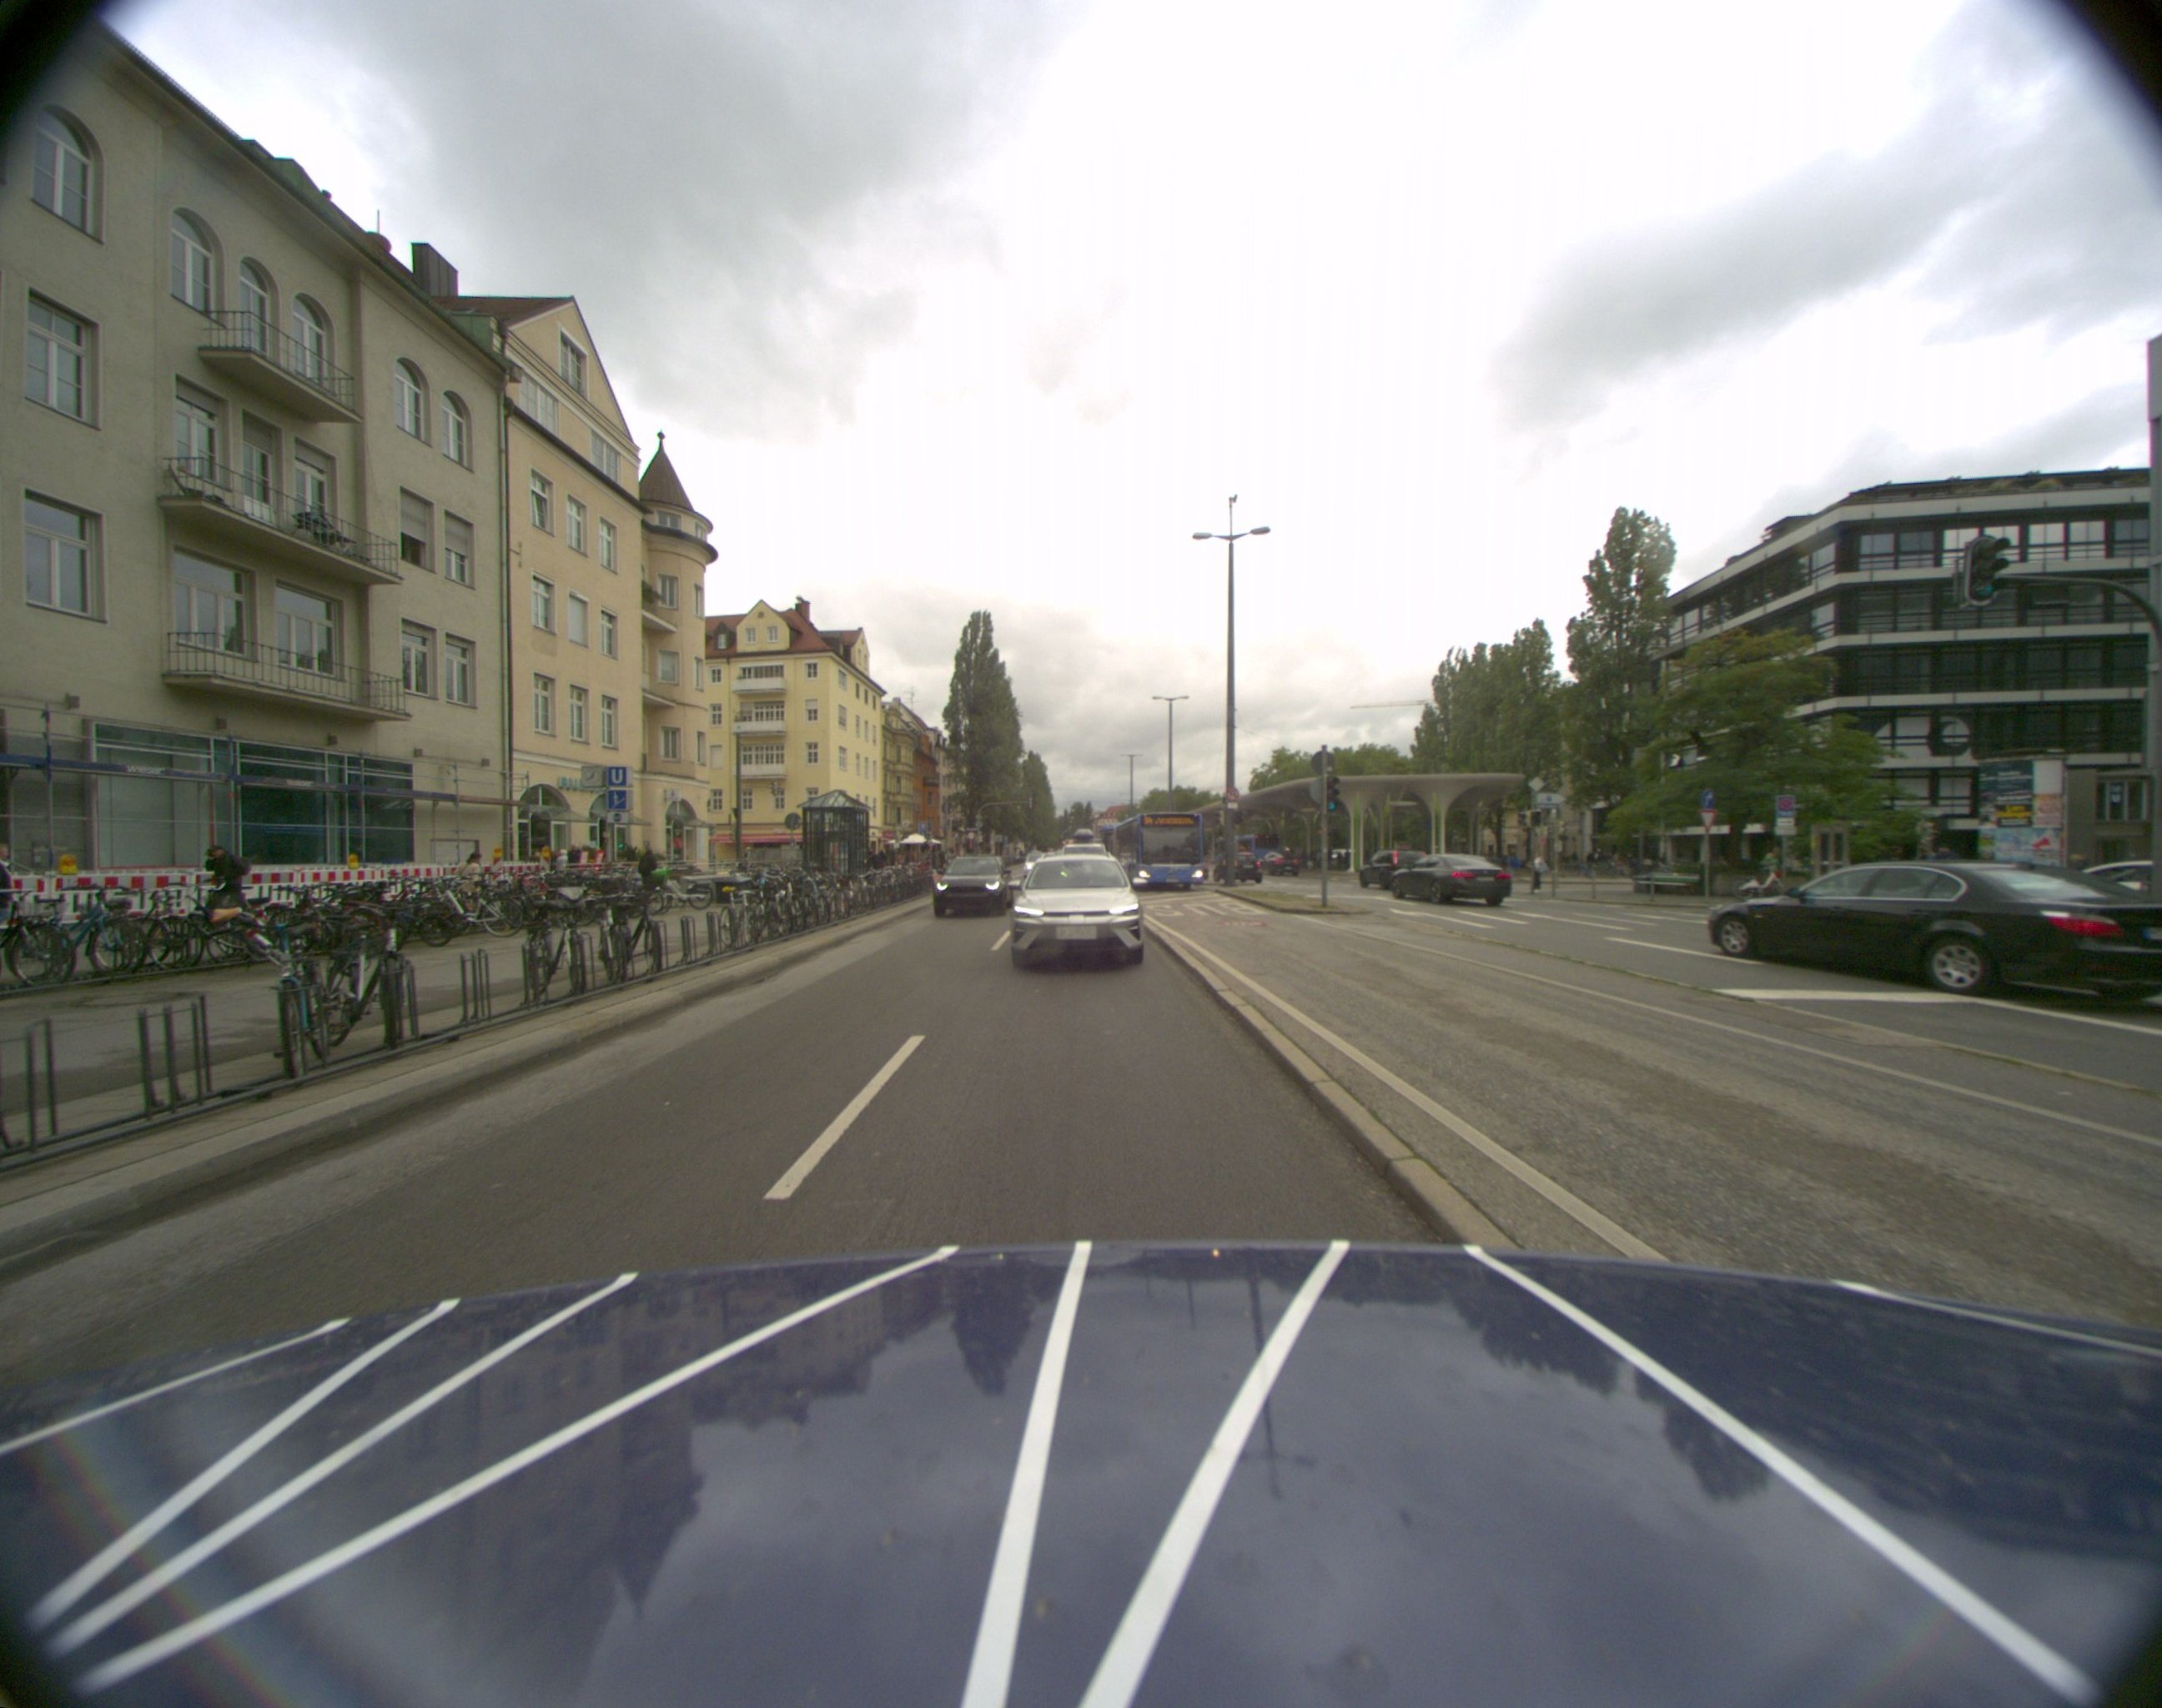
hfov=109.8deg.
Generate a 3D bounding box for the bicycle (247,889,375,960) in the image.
[{"bbox_3d":[-12.102,1.096,11.973,1.453,1.071,0.410,1,1,-8],"label":"bicycle"}]

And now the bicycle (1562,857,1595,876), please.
[{"bbox_3d":[29.962,0.736,45.743,0.473,1.091,1.671,0,1,-24],"label":"bicycle"}]

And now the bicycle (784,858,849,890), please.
[{"bbox_3d":[-10.417,0.777,29.947,2.317,1.220,0.628,0,1,3],"label":"bicycle"}]

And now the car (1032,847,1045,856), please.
[{"bbox_3d":[-7.500,-0.457,134.169,1.998,1.630,4.000,0,1,1],"label":"car"}]

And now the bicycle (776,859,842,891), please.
[{"bbox_3d":[-10.478,0.791,29.314,2.317,1.220,0.628,0,1,3],"label":"bicycle"}]

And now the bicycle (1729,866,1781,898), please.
[{"bbox_3d":[21.556,0.882,24.301,1.298,1.010,0.419,0,1,-1],"label":"bicycle"}]

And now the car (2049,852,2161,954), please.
[{"bbox_3d":[17.871,0.787,11.153,1.591,1.603,4.476,0,1,0],"label":"car"}]

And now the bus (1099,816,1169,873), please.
[{"bbox_3d":[2.882,-0.620,45.214,2.942,2.927,11.209,-1,1,-2],"label":"bus"}]

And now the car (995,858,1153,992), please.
[{"bbox_3d":[-0.036,0.886,11.319,1.896,1.483,3.999,-2,1,1],"label":"car"}]

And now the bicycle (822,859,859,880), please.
[{"bbox_3d":[-13.088,0.859,41.345,1.822,1.121,0.610,0,0,13],"label":"bicycle"}]

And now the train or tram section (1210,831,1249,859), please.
[{"bbox_3d":[16.460,-0.938,84.643,2.840,2.983,7.406,0,1,0],"label":"train or tram section"}]

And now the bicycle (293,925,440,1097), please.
[{"bbox_3d":[-5.563,1.128,5.878,1.797,1.098,0.548,-4,-1,39],"label":"bicycle"}]

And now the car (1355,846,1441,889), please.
[{"bbox_3d":[13.674,0.524,33.099,1.998,1.767,4.599,0,1,2],"label":"car"}]

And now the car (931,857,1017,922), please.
[{"bbox_3d":[-2.732,0.862,20.242,1.740,1.462,4.049,-1,1,-1],"label":"car"}]

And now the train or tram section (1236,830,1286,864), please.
[{"bbox_3d":[16.404,-0.650,69.853,2.840,2.983,7.406,0,1,0],"label":"train or tram section"}]

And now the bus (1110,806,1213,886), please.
[{"bbox_3d":[3.240,-0.412,34.016,2.942,2.927,11.209,-1,1,-2],"label":"bus"}]

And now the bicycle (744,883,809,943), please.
[{"bbox_3d":[-5.755,1.104,14.296,0.398,1.053,1.848,-3,-1,-44],"label":"bicycle"}]

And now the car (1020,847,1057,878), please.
[{"bbox_3d":[-2.586,0.504,47.402,1.998,1.740,3.999,-2,1,1],"label":"car"}]

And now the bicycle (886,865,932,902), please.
[{"bbox_3d":[-5.517,0.939,24.271,1.673,1.131,0.479,-1,1,40],"label":"bicycle"}]

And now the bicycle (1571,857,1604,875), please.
[{"bbox_3d":[30.692,0.708,46.092,0.473,1.091,1.671,0,1,-24],"label":"bicycle"}]

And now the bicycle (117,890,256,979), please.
[{"bbox_3d":[-12.021,1.062,10.221,1.631,1.097,0.410,1,1,9],"label":"bicycle"}]

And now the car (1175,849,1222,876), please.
[{"bbox_3d":[6.681,0.479,43.512,1.629,1.471,3.385,1,0,-11],"label":"car"}]

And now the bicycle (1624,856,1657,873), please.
[{"bbox_3d":[36.450,0.698,49.545,0.474,1.091,1.671,-1,1,-33],"label":"bicycle"}]

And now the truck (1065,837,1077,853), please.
[{"bbox_3d":[-2.271,-1.923,169.376,2.540,3.468,7.751,0,1,1],"label":"truck"}]

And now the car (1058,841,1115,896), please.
[{"bbox_3d":[0.215,0.490,29.187,1.998,1.889,4.235,-2,1,1],"label":"car"}]

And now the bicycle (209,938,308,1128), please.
[{"bbox_3d":[-5.640,1.143,5.253,1.797,1.048,0.368,-4,-1,44],"label":"bicycle"}]

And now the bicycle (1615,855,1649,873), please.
[{"bbox_3d":[35.397,0.631,48.821,0.474,1.091,1.671,-1,1,-33],"label":"bicycle"}]

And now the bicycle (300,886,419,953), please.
[{"bbox_3d":[-11.949,1.079,12.604,1.453,1.071,0.410,1,1,-8],"label":"bicycle"}]

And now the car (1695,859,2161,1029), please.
[{"bbox_3d":[10.238,0.837,9.238,1.840,1.478,4.735,0,0,2],"label":"car"}]

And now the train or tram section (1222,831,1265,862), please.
[{"bbox_3d":[16.438,-0.793,77.234,2.840,2.983,7.406,0,1,0],"label":"train or tram section"}]

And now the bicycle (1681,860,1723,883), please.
[{"bbox_3d":[28.934,0.812,35.435,0.510,0.992,1.751,0,1,1],"label":"bicycle"}]

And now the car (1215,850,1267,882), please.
[{"bbox_3d":[8.079,0.586,38.551,1.562,1.498,2.785,0,1,-13],"label":"car"}]

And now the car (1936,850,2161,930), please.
[{"bbox_3d":[21.015,0.678,15.550,1.860,1.502,4.293,0,1,-14],"label":"car"}]

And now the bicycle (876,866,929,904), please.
[{"bbox_3d":[-5.519,0.956,23.439,1.674,1.131,0.479,-1,1,30],"label":"bicycle"}]

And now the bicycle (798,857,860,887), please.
[{"bbox_3d":[-10.385,0.748,31.328,2.317,1.220,0.628,0,1,3],"label":"bicycle"}]

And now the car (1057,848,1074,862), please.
[{"bbox_3d":[-1.936,0.088,93.120,1.999,1.630,3.999,0,1,-2],"label":"car"}]

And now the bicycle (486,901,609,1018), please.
[{"bbox_3d":[-5.733,1.088,8.126,1.797,1.098,0.548,-4,-1,39],"label":"bicycle"}]

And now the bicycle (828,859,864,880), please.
[{"bbox_3d":[-12.992,0.843,41.993,1.822,1.121,0.610,0,0,13],"label":"bicycle"}]

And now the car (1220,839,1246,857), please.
[{"bbox_3d":[13.477,-0.529,67.635,1.674,1.506,2.746,0,1,-2],"label":"car"}]

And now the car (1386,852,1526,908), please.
[{"bbox_3d":[11.427,0.717,23.607,1.998,1.499,5.022,0,0,2],"label":"car"}]

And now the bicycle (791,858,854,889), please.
[{"bbox_3d":[-10.409,0.763,30.610,2.317,1.220,0.628,0,1,3],"label":"bicycle"}]

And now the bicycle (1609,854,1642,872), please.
[{"bbox_3d":[34.601,0.553,48.297,0.473,1.091,1.671,0,1,-24],"label":"bicycle"}]

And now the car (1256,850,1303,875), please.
[{"bbox_3d":[13.514,0.551,51.980,1.999,1.567,4.616,0,1,-1],"label":"car"}]

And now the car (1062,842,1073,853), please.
[{"bbox_3d":[-2.246,-1.115,128.915,1.859,1.696,3.999,1,1,-1],"label":"car"}]
